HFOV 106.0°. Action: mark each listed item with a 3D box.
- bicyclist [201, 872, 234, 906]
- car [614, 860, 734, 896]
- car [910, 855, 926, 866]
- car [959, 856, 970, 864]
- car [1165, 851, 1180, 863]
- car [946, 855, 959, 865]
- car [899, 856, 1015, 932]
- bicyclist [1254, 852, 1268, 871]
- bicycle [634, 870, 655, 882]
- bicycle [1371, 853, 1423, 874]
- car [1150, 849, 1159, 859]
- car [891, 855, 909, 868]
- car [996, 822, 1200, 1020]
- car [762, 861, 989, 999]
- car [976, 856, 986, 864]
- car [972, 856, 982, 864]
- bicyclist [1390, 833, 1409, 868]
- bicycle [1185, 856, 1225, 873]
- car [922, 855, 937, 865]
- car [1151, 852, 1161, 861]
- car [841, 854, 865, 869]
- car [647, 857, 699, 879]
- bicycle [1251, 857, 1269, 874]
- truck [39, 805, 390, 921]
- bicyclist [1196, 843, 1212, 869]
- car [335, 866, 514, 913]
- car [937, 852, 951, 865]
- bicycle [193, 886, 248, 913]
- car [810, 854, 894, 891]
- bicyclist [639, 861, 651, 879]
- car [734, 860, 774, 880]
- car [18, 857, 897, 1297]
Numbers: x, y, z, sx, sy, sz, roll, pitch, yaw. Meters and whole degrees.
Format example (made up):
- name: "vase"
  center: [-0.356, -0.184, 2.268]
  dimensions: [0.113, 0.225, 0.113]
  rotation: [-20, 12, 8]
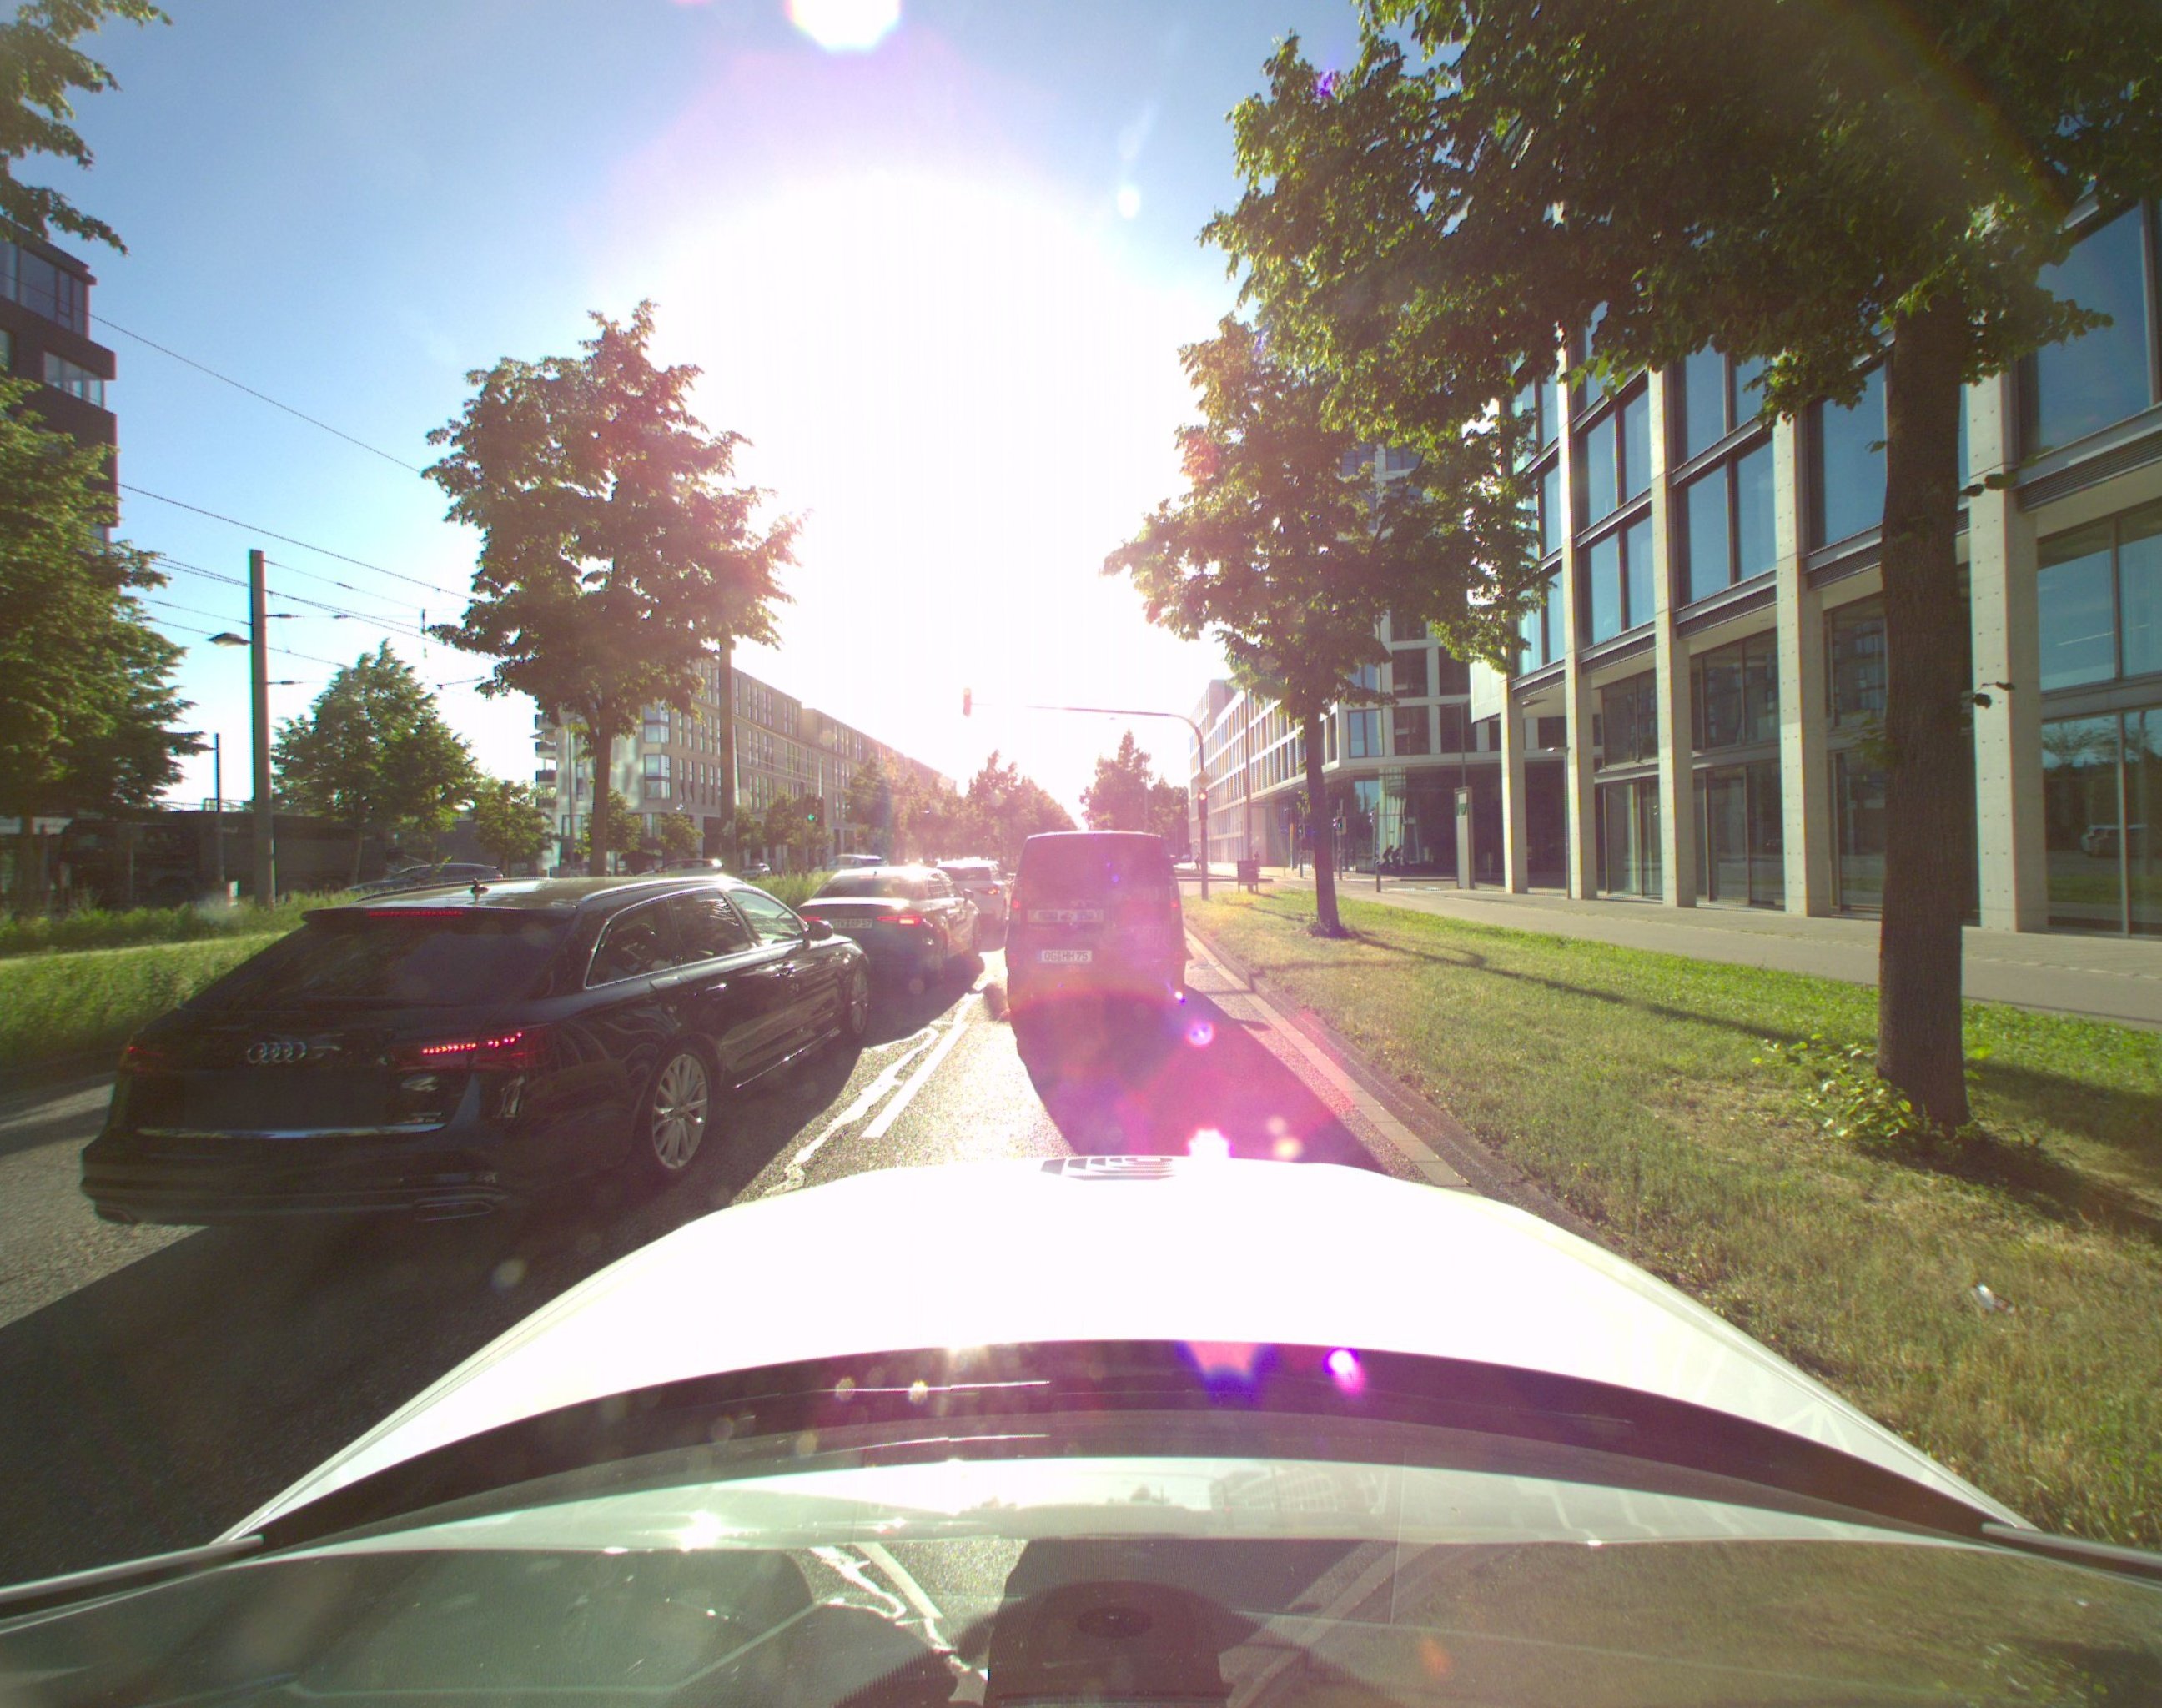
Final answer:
- name: "bicyclist"
  center: [-37.108, 1.494, 35.005]
  dimensions: [0.475, 1.424, 0.821]
  rotation: [-1, 0, 2]
- name: "car"
  center: [-18.135, 1.047, 36.512]
  dimensions: [4.566, 1.447, 1.794]
  rotation: [-1, 0, -18]
- name: "car"
  center: [-30.109, 1.130, 150.282]
  dimensions: [1.986, 2.013, 4.002]
  rotation: [-1, 0, 2]
- name: "car"
  center: [-28.615, 1.421, 200.181]
  dimensions: [1.986, 2.013, 4.002]
  rotation: [-1, 0, 2]
- name: "car"
  center: [14.324, 0.434, 127.878]
  dimensions: [1.986, 1.782, 4.002]
  rotation: [-1, 0, 2]
- name: "car"
  center: [-28.904, 1.326, 183.362]
  dimensions: [1.986, 2.013, 4.002]
  rotation: [-1, 0, 2]
- name: "car"
  center: [-2.571, 0.787, 17.776]
  dimensions: [1.797, 1.426, 3.902]
  rotation: [-1, 0, 2]
- name: "bicyclist"
  center: [12.298, 0.478, 55.580]
  dimensions: [0.814, 1.275, 0.683]
  rotation: [-1, 0, 4]
- name: "bicycle"
  center: [-38.107, 1.908, 71.120]
  dimensions: [0.674, 0.988, 1.957]
  rotation: [-1, 0, 2]
- name: "bicycle"
  center: [19.553, 0.597, 50.425]
  dimensions: [2.913, 1.190, 0.823]
  rotation: [-1, 0, 31]
- name: "car"
  center: [17.887, 0.030, 198.179]
  dimensions: [1.986, 2.497, 4.988]
  rotation: [-1, 0, 2]
- name: "car"
  center: [-30.588, 1.273, 137.454]
  dimensions: [1.986, 2.013, 4.002]
  rotation: [-1, 0, 2]
- name: "car"
  center: [0.217, 0.613, 9.449]
  dimensions: [1.835, 1.780, 4.002]
  rotation: [-1, 0, 2]
- name: "car"
  center: [-2.491, 0.847, 11.055]
  dimensions: [1.835, 1.426, 4.340]
  rotation: [-1, 0, 2]
- name: "car"
  center: [-27.448, 1.566, 223.811]
  dimensions: [1.986, 2.013, 4.002]
  rotation: [-1, 0, 2]
- name: "car"
  center: [-27.905, 1.529, 218.194]
  dimensions: [1.986, 2.013, 4.002]
  rotation: [-1, 0, 2]
- name: "bicyclist"
  center: [19.671, -0.219, 50.357]
  dimensions: [0.931, 2.092, 0.823]
  rotation: [-1, 0, 31]
- name: "bicycle"
  center: [9.460, 0.813, 62.224]
  dimensions: [2.915, 1.190, 0.822]
  rotation: [-1, 0, 25]
- name: "car"
  center: [-29.697, 1.185, 159.379]
  dimensions: [1.986, 2.013, 4.002]
  rotation: [-1, 0, 2]
- name: "car"
  center: [16.504, 0.549, 179.678]
  dimensions: [1.986, 1.782, 4.002]
  rotation: [-1, 0, 2]
- name: "car"
  center: [-30.882, 0.987, 110.592]
  dimensions: [1.986, 2.013, 4.002]
  rotation: [-1, 0, 2]
- name: "car"
  center: [-31.044, 1.038, 62.071]
  dimensions: [1.758, 1.520, 4.002]
  rotation: [-1, 0, 2]
- name: "bicycle"
  center: [12.200, 0.751, 55.558]
  dimensions: [0.814, 1.114, 2.849]
  rotation: [-1, 0, 4]
- name: "truck"
  center: [-33.628, 0.289, 32.644]
  dimensions: [2.880, 3.853, 10.217]
  rotation: [-1, 0, 2]
- name: "bicyclist"
  center: [9.431, 0.155, 62.243]
  dimensions: [0.989, 1.947, 0.822]
  rotation: [-1, 0, 25]
- name: "car"
  center: [-23.096, 1.198, 28.896]
  dimensions: [1.782, 1.447, 4.595]
  rotation: [-1, 0, 25]
- name: "car"
  center: [-28.438, 0.963, 169.288]
  dimensions: [1.986, 2.607, 4.002]
  rotation: [-1, 0, 2]
- name: "bicycle"
  center: [-37.101, 1.948, 35.133]
  dimensions: [0.475, 1.035, 1.757]
  rotation: [-1, 0, 2]
- name: "car"
  center: [-9.972, 0.773, 35.266]
  dimensions: [4.162, 1.492, 1.529]
  rotation: [-1, 0, 43]
- name: "bicyclist"
  center: [-38.110, 1.406, 71.175]
  dimensions: [0.674, 1.529, 0.714]
  rotation: [-1, 0, 1]
- name: "car"
  center: [-31.798, 1.534, 79.243]
  dimensions: [1.986, 1.814, 4.372]
  rotation: [-1, 0, 2]
- name: "car"
  center: [-2.751, 0.789, 5.344]
  dimensions: [1.868, 1.484, 4.967]
  rotation: [-1, 0, 1]
